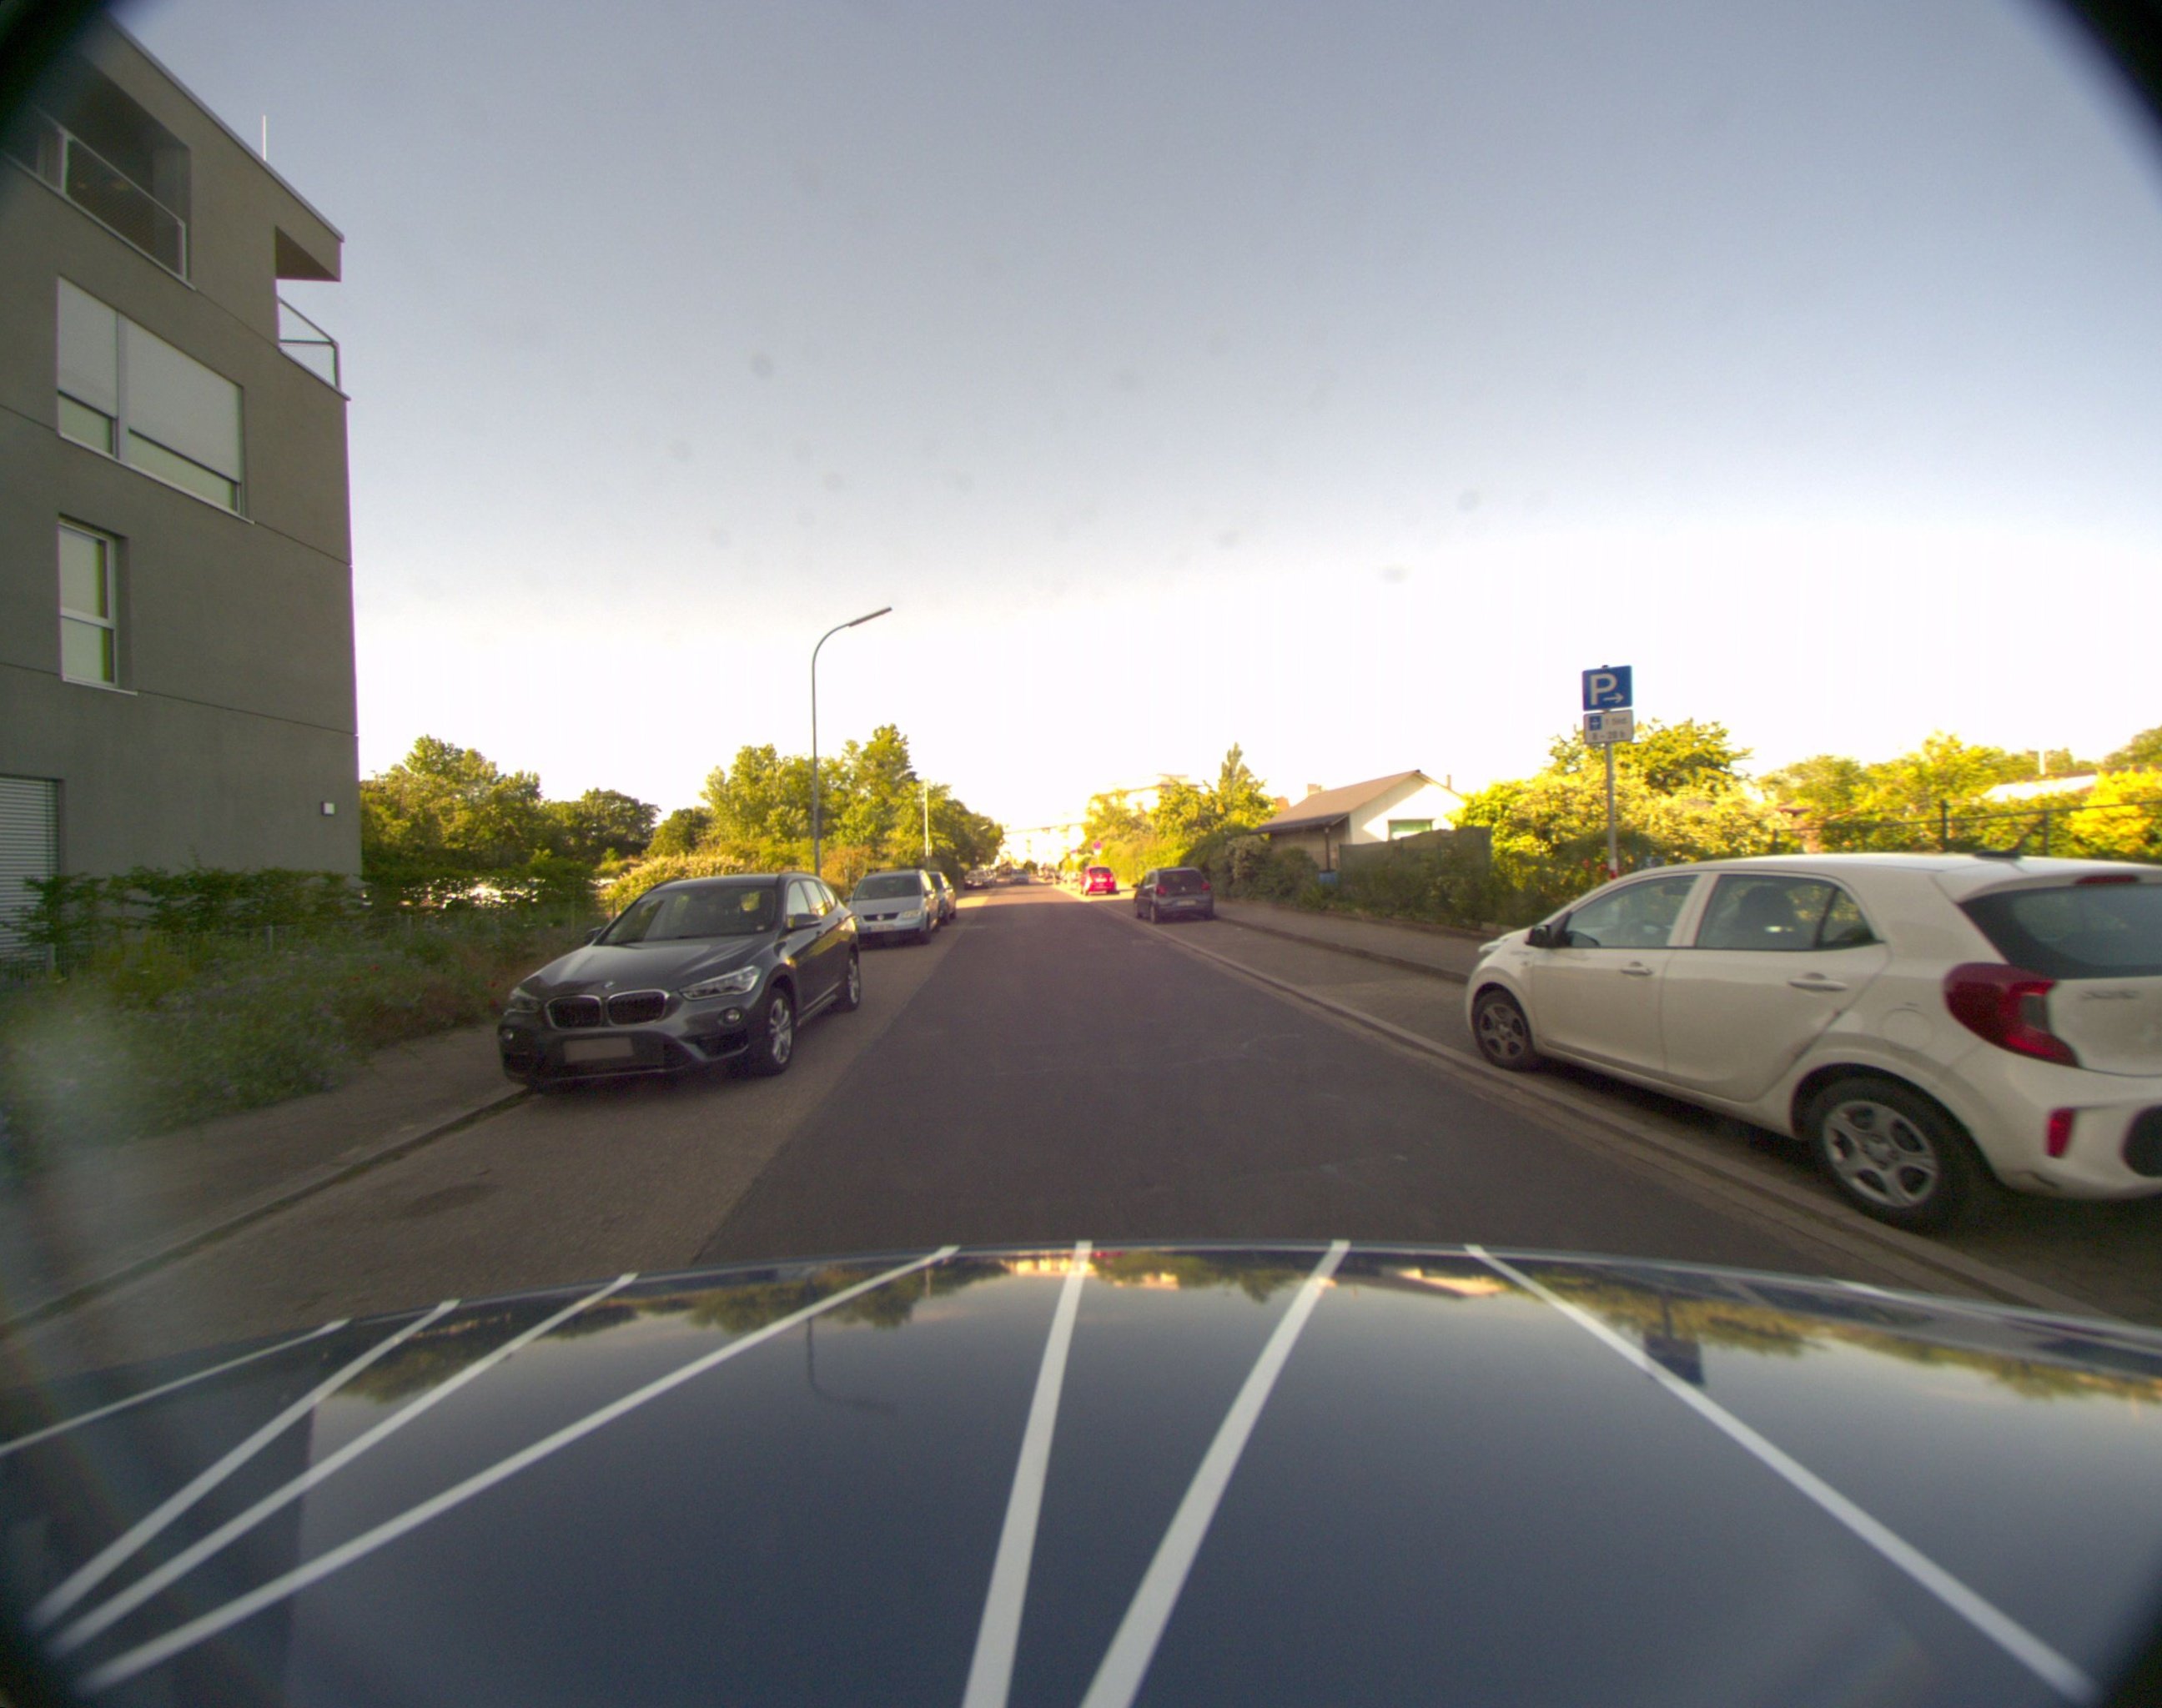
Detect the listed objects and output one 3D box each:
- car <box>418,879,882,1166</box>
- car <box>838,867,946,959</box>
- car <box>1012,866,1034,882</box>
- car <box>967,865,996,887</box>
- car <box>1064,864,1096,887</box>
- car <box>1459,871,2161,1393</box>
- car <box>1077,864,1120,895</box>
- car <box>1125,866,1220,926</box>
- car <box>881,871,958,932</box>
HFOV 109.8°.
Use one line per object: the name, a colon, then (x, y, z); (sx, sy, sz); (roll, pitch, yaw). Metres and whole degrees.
car: (-3.301, 1.119, 7.142); (1.749, 1.557, 4.802); (-4, 0, -3)
car: (-4.169, 1.209, 17.436); (1.712, 1.695, 4.348); (-4, 0, -6)
car: (-5.553, 1.860, 72.017); (1.680, 1.440, 3.997); (-2, 0, -10)
car: (-7.536, 1.626, 57.762); (1.874, 1.517, 4.153); (-2, 0, -4)
car: (-0.087, 1.342, 48.816); (1.701, 1.361, 3.909); (-2, -1, -5)
car: (3.770, 0.880, 4.061); (1.532, 1.479, 3.400); (-2, 0, -5)
car: (0.857, 1.279, 39.466); (1.701, 1.421, 4.384); (-2, -1, -5)
car: (2.468, 1.100, 21.708); (1.701, 1.415, 4.515); (-4, 0, -5)
car: (-4.681, 1.330, 22.381); (1.711, 1.517, 3.092); (-4, 0, -4)
